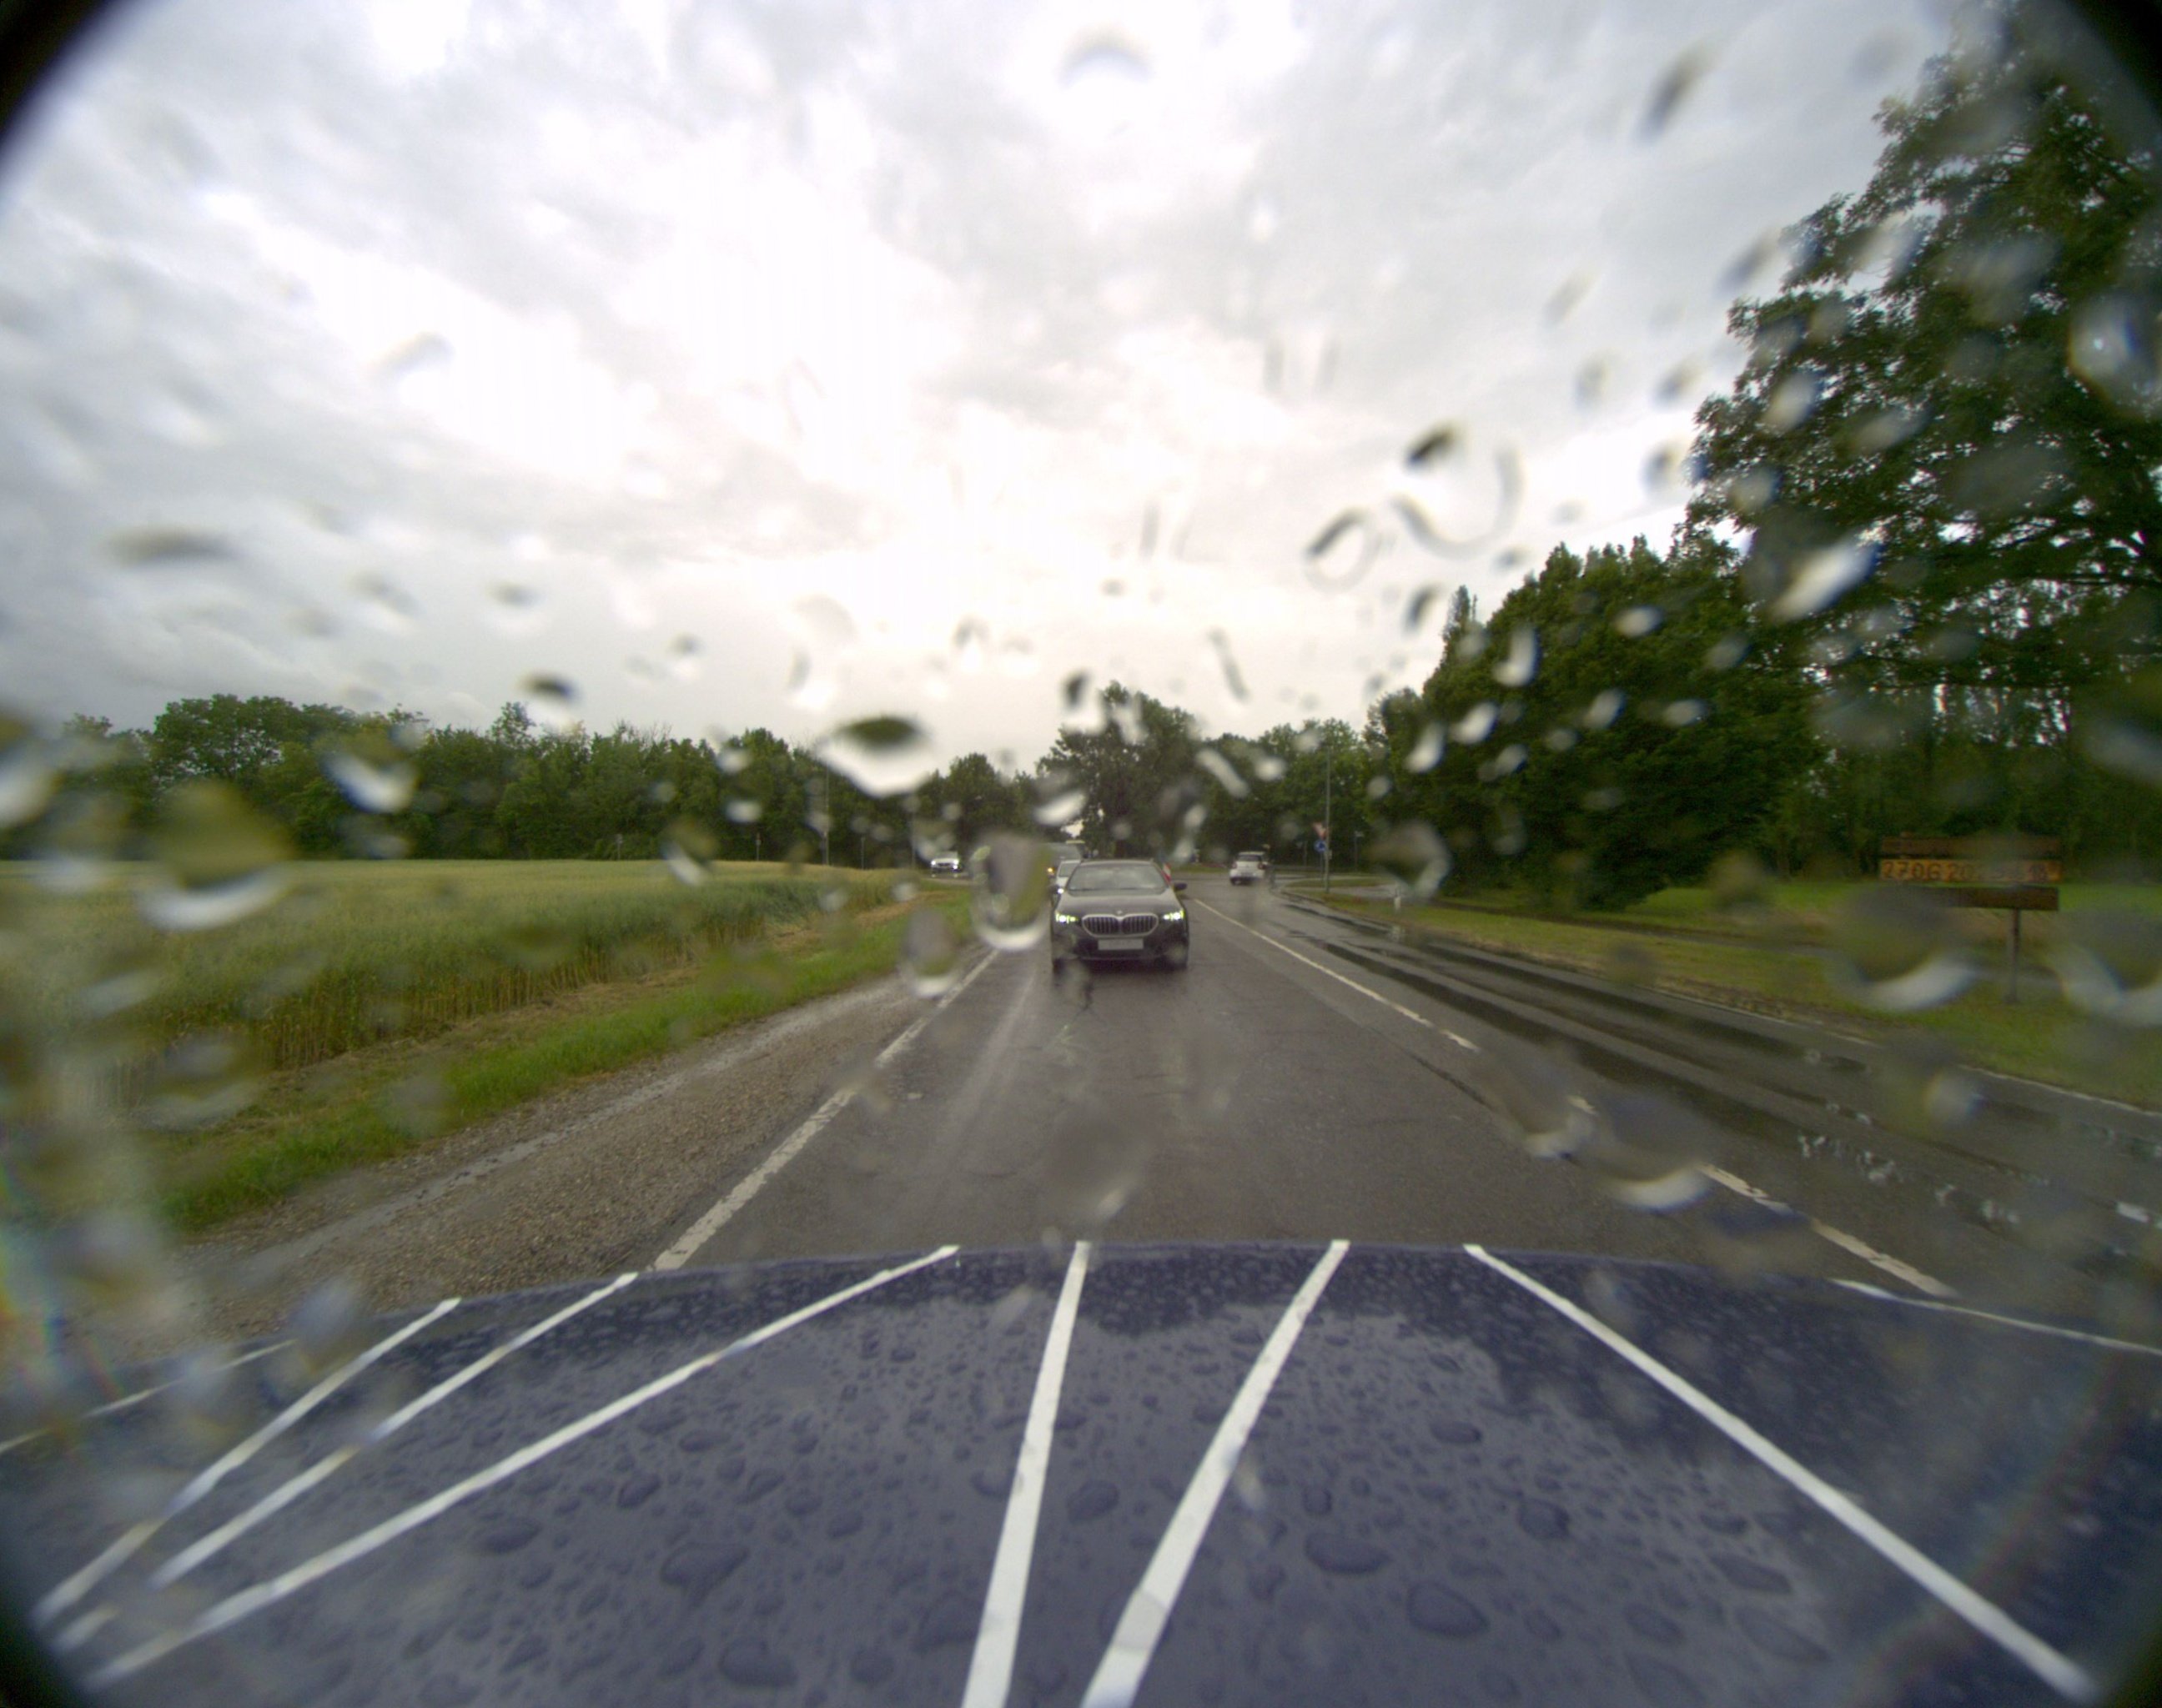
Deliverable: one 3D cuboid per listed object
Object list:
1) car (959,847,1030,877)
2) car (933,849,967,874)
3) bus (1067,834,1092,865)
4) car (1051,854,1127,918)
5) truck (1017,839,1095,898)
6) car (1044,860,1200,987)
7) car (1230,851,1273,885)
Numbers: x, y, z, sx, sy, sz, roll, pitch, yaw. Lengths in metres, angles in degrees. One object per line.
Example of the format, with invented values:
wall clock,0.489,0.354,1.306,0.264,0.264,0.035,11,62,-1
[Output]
car,-4.772,0.425,41.068,1.896,1.522,5.243,-1,0,-29
car,-8.630,0.492,50.378,1.893,1.522,4.499,-1,0,-6
bus,-0.081,-0.608,98.734,2.995,3.665,14.294,1,0,1
car,0.134,0.812,21.164,1.892,1.482,4.190,-1,1,-2
truck,-1.167,0.489,31.407,2.078,2.050,5.760,-2,2,-13
car,0.525,0.877,11.378,1.891,1.484,4.035,-1,0,1
car,8.169,0.642,36.174,1.677,1.489,3.739,2,0,16
